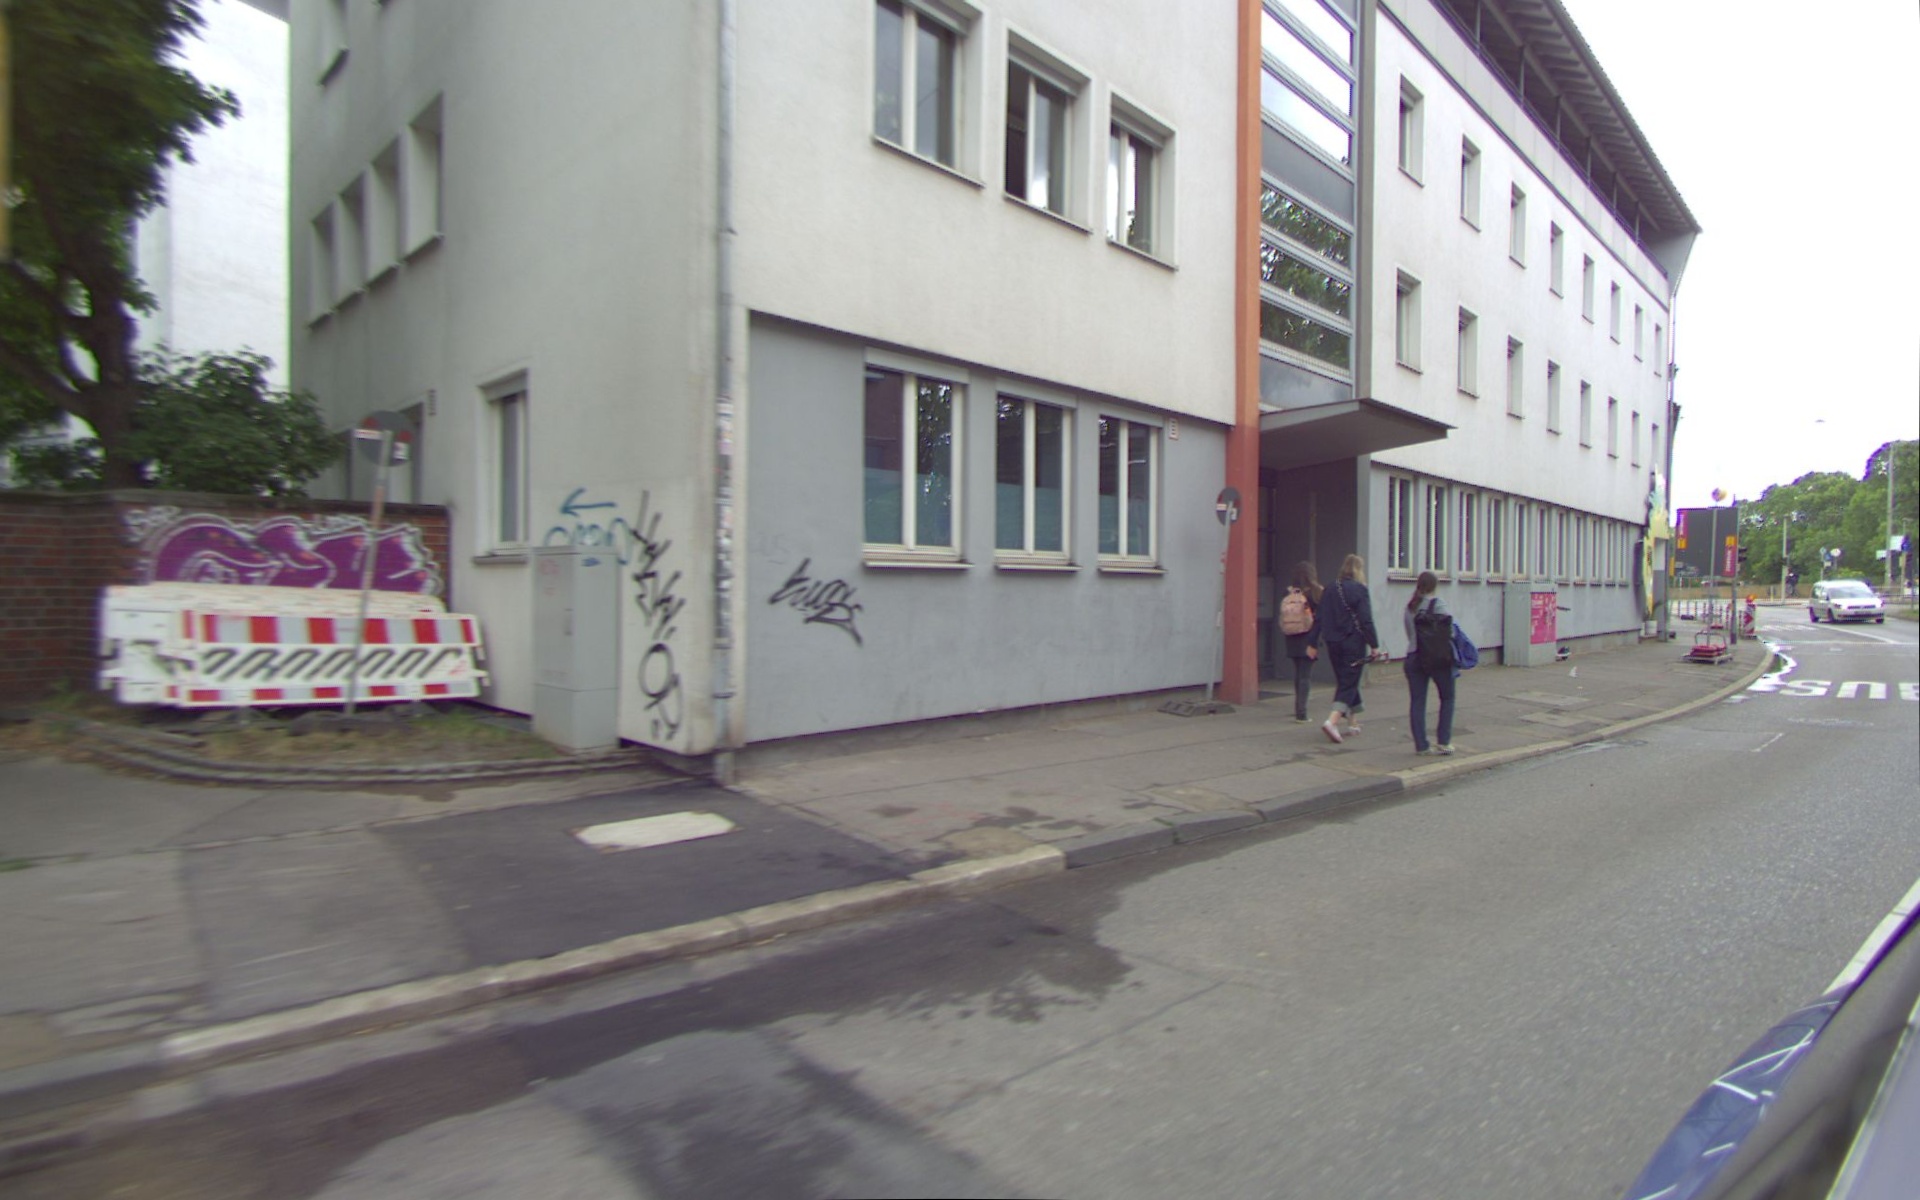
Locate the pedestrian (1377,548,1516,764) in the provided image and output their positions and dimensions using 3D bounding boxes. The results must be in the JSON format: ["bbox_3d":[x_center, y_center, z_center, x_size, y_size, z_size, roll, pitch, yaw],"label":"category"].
[{"bbox_3d":[4.432,0.470,9.207,0.804,1.816,0.927,4,1,45],"label":"pedestrian"}]

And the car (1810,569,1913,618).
[{"bbox_3d":[38.693,-0.319,43.563,2.053,1.807,4.421,-3,1,26],"label":"car"}]

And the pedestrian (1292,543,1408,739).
[{"bbox_3d":[3.778,0.368,9.790,0.687,1.778,0.864,4,1,45],"label":"pedestrian"}]

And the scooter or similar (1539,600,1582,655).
[{"bbox_3d":[12.578,0.560,21.167,0.428,1.111,1.416,3,2,44],"label":"scooter or similar"}]

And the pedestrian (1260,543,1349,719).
[{"bbox_3d":[3.591,0.309,10.560,0.596,1.778,0.544,2,1,-32],"label":"pedestrian"}]
